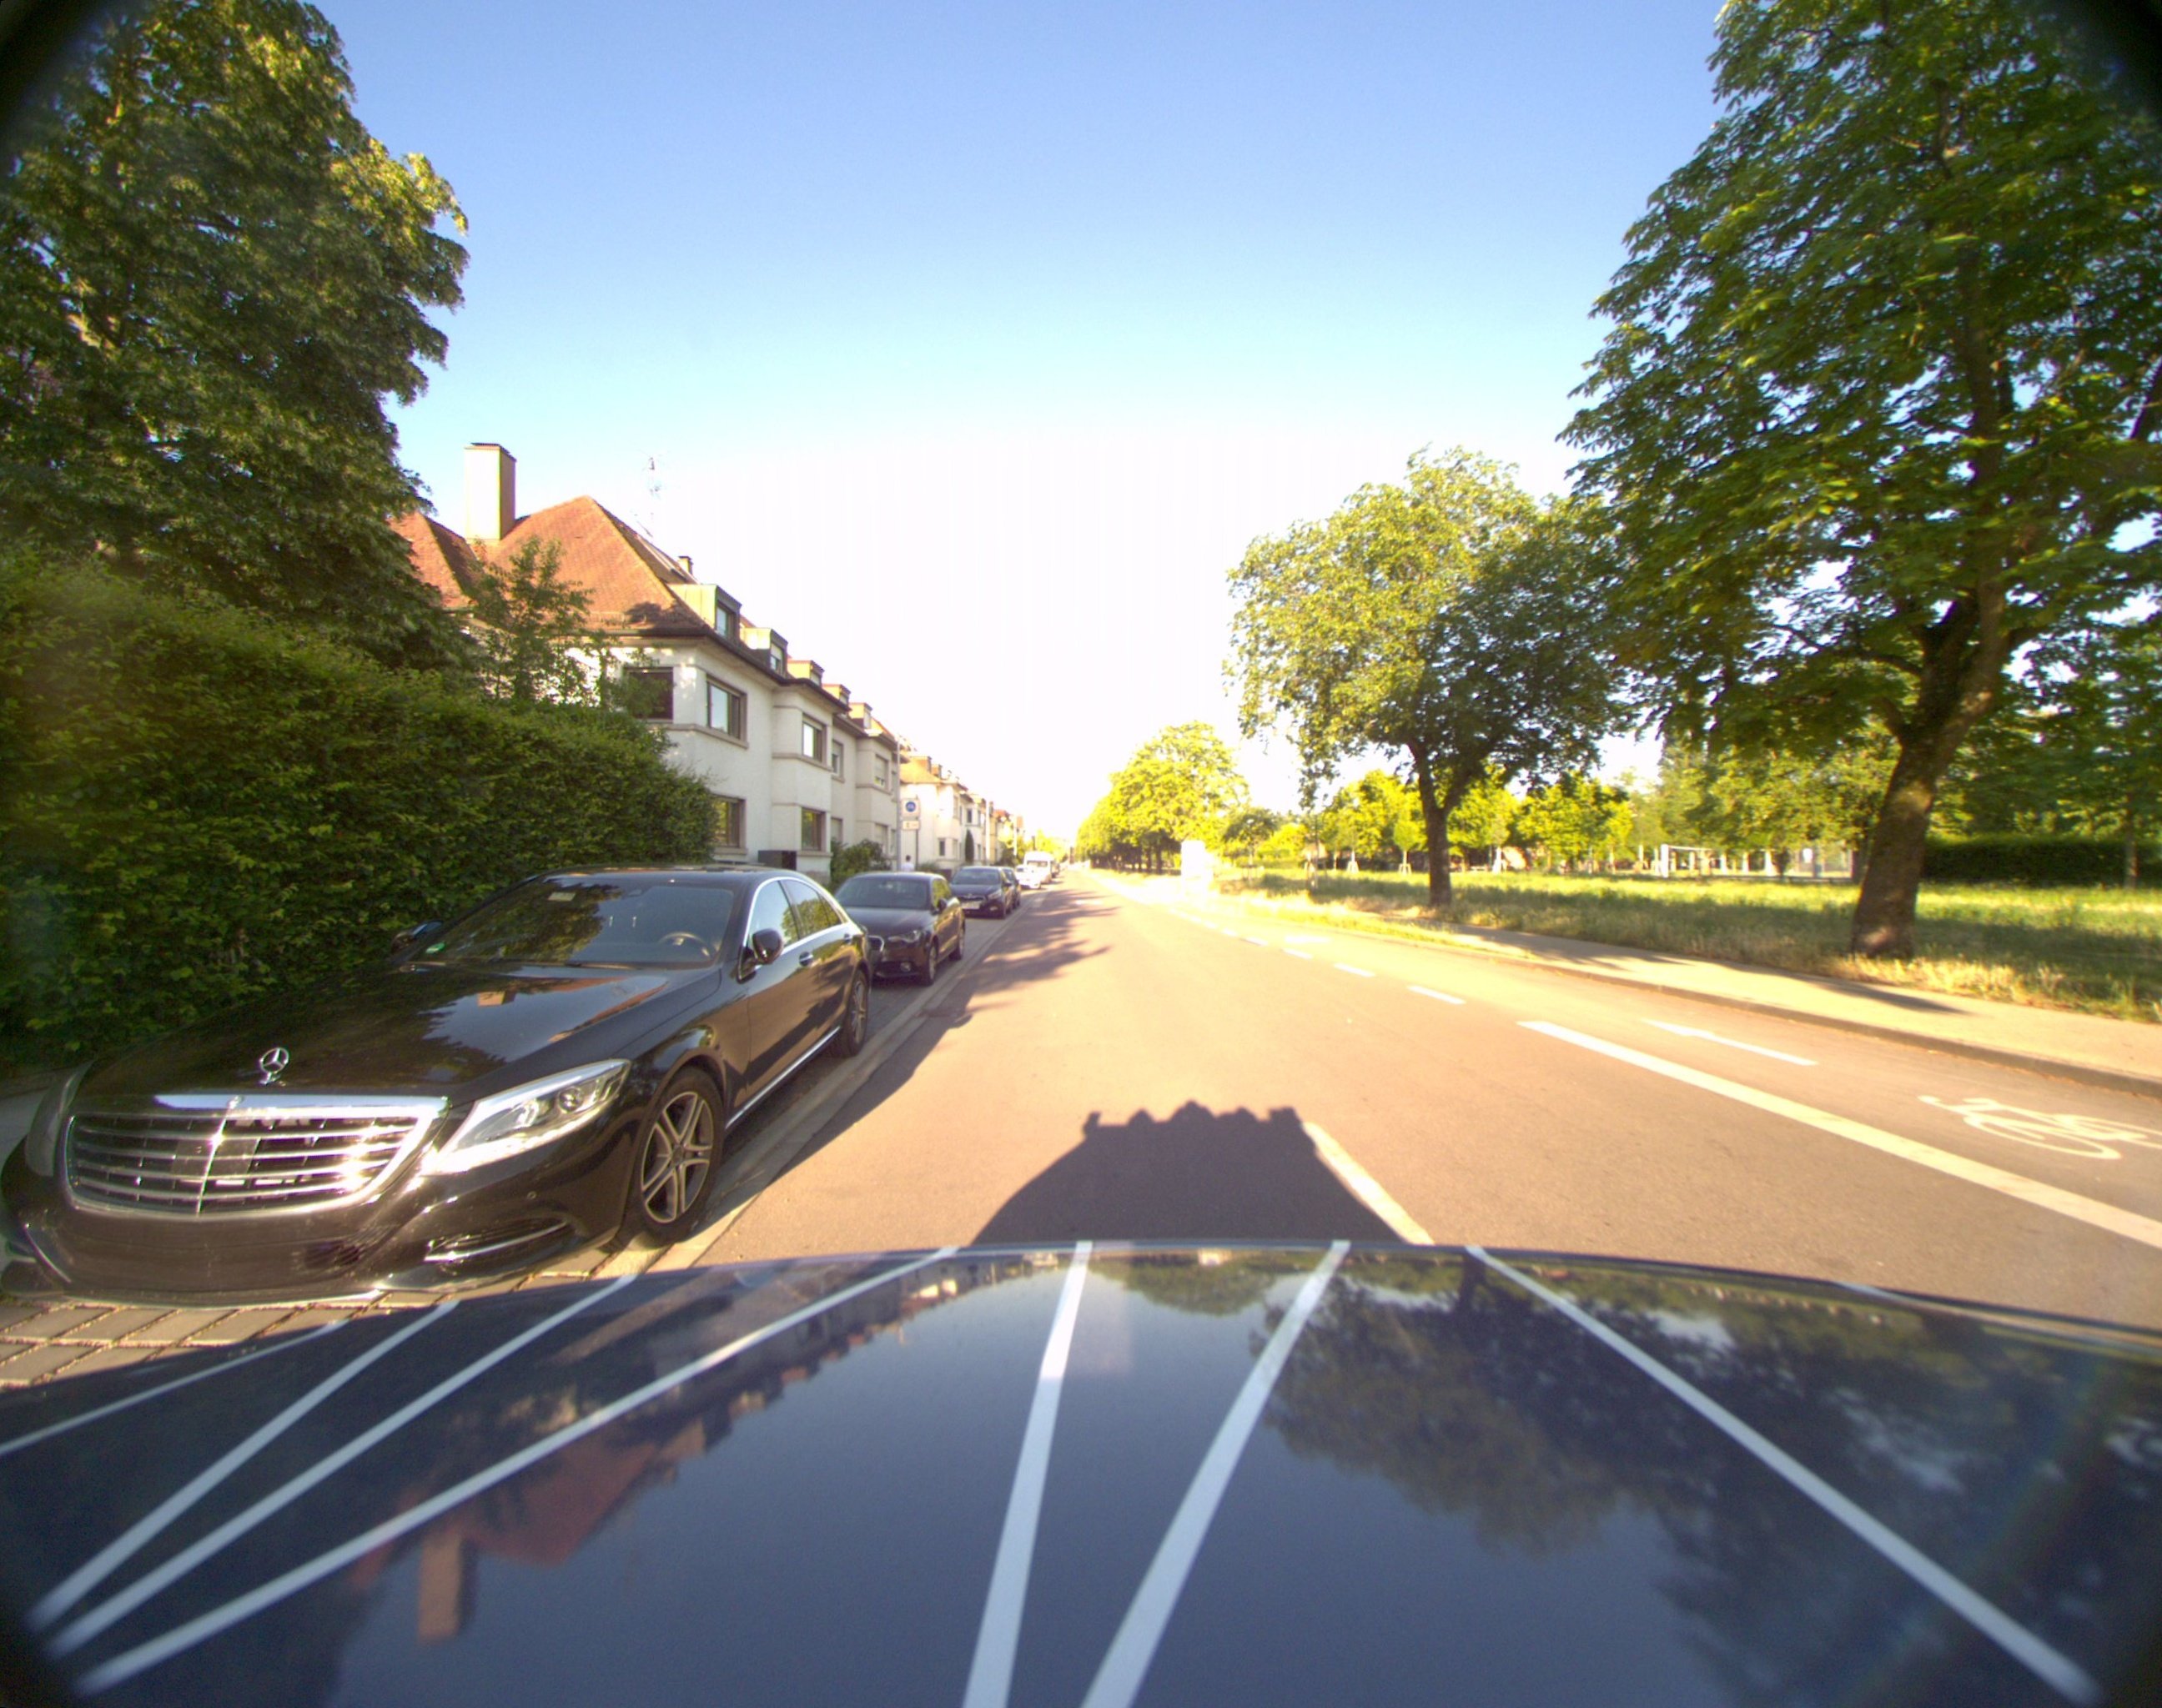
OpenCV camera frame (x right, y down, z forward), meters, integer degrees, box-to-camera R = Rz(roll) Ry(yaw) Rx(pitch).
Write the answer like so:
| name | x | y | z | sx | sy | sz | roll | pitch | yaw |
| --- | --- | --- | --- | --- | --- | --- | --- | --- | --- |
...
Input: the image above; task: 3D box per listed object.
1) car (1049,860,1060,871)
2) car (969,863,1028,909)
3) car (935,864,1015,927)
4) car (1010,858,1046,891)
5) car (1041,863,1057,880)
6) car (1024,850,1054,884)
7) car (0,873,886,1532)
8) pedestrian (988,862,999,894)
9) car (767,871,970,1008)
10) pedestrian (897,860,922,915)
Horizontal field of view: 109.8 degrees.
| name | x | y | z | sx | sy | sz | roll | pitch | yaw |
| --- | --- | --- | --- | --- | --- | --- | --- | --- | --- |
| car | -4.124 | 1.743 | 117.123 | 1.682 | 1.543 | 3.842 | 1 | 0 | -3 |
| car | -2.919 | 1.118 | 27.571 | 1.680 | 1.525 | 3.472 | -2 | -1 | 1 |
| car | -2.970 | 1.120 | 22.034 | 1.796 | 1.586 | 4.077 | -2 | -1 | -1 |
| car | -3.203 | 1.209 | 46.643 | 1.999 | 1.775 | 3.999 | -2 | 1 | -1 |
| car | -3.708 | 2.031 | 88.791 | 1.708 | 1.848 | 3.712 | -2 | 1 | 0 |
| car | -3.254 | 0.955 | 59.753 | 2.132 | 2.461 | 5.723 | -2 | 1 | -1 |
| car | -2.626 | 0.913 | 4.290 | 2.009 | 1.489 | 4.914 | 1 | 0 | -3 |
| pedestrian | -5.055 | 1.389 | 44.094 | 0.531 | 1.787 | 0.589 | -2 | 1 | -2 |
| car | -2.749 | 1.037 | 10.782 | 1.784 | 1.469 | 4.000 | -2 | -1 | -1 |
| pedestrian | -5.993 | 1.157 | 26.583 | 0.587 | 1.835 | 0.823 | -2 | 1 | 1 |
